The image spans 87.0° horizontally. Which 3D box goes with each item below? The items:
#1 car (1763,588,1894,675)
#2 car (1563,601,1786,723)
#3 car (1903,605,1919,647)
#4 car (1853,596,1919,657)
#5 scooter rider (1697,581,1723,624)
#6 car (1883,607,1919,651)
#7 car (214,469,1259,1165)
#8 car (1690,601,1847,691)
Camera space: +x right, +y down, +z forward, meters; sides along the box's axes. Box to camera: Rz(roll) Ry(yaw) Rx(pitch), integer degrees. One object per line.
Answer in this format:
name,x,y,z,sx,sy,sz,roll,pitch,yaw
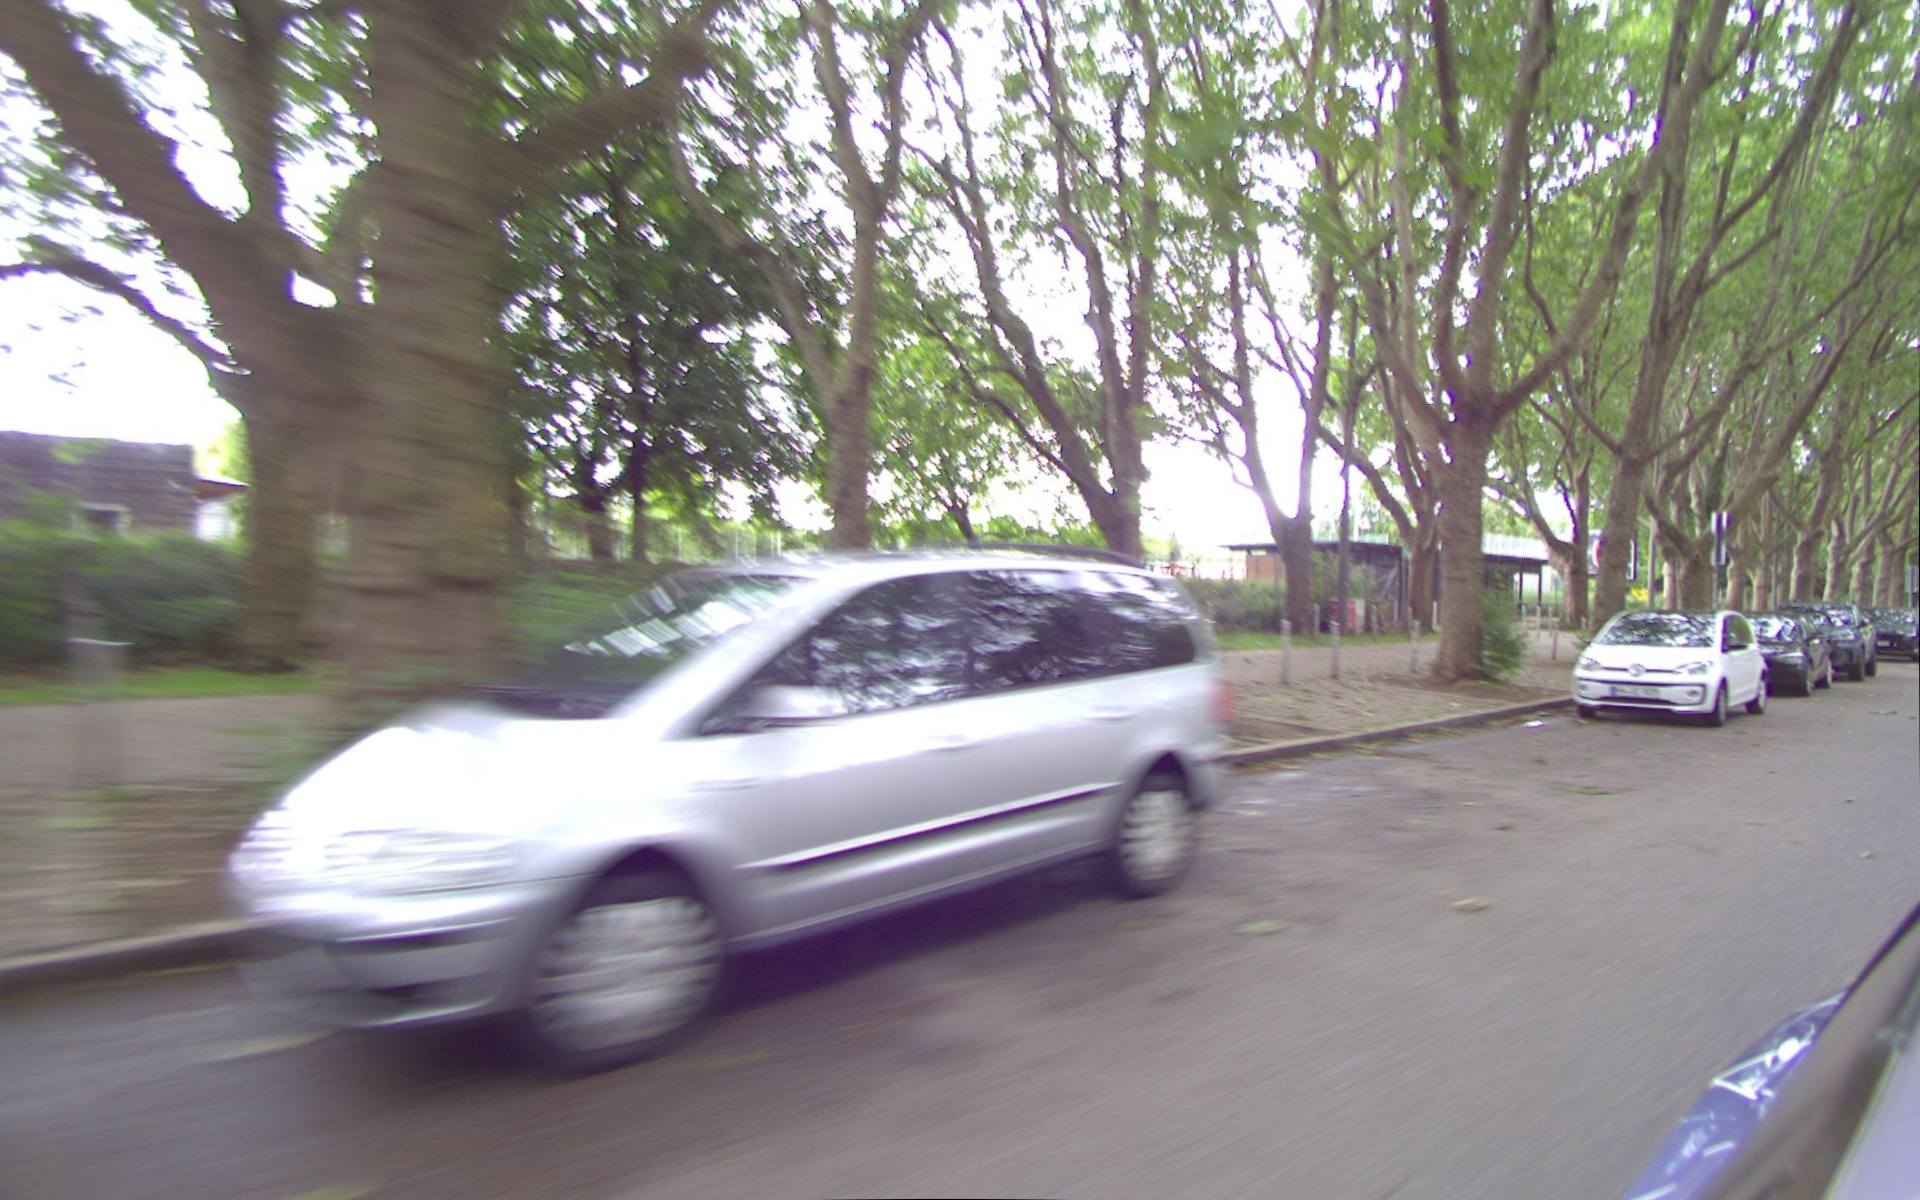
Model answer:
car,19.172,0.639,22.272,4.552,1.720,1.709,0,0,-43
car,9.944,0.745,13.989,3.821,1.445,1.710,0,0,-42
car,36.636,0.952,37.810,4.278,1.528,1.670,0,-1,-41
car,28.748,0.766,30.881,4.559,1.694,1.780,0,1,-43
scooter rider,32.368,0.118,43.672,0.577,1.822,0.678,1,2,-41
car,32.602,0.953,34.216,3.645,1.460,1.619,1,-1,-41
car,-0.661,0.533,4.754,4.428,1.760,1.906,0,1,-42
car,14.902,0.755,18.570,4.288,1.433,1.709,1,0,-44
